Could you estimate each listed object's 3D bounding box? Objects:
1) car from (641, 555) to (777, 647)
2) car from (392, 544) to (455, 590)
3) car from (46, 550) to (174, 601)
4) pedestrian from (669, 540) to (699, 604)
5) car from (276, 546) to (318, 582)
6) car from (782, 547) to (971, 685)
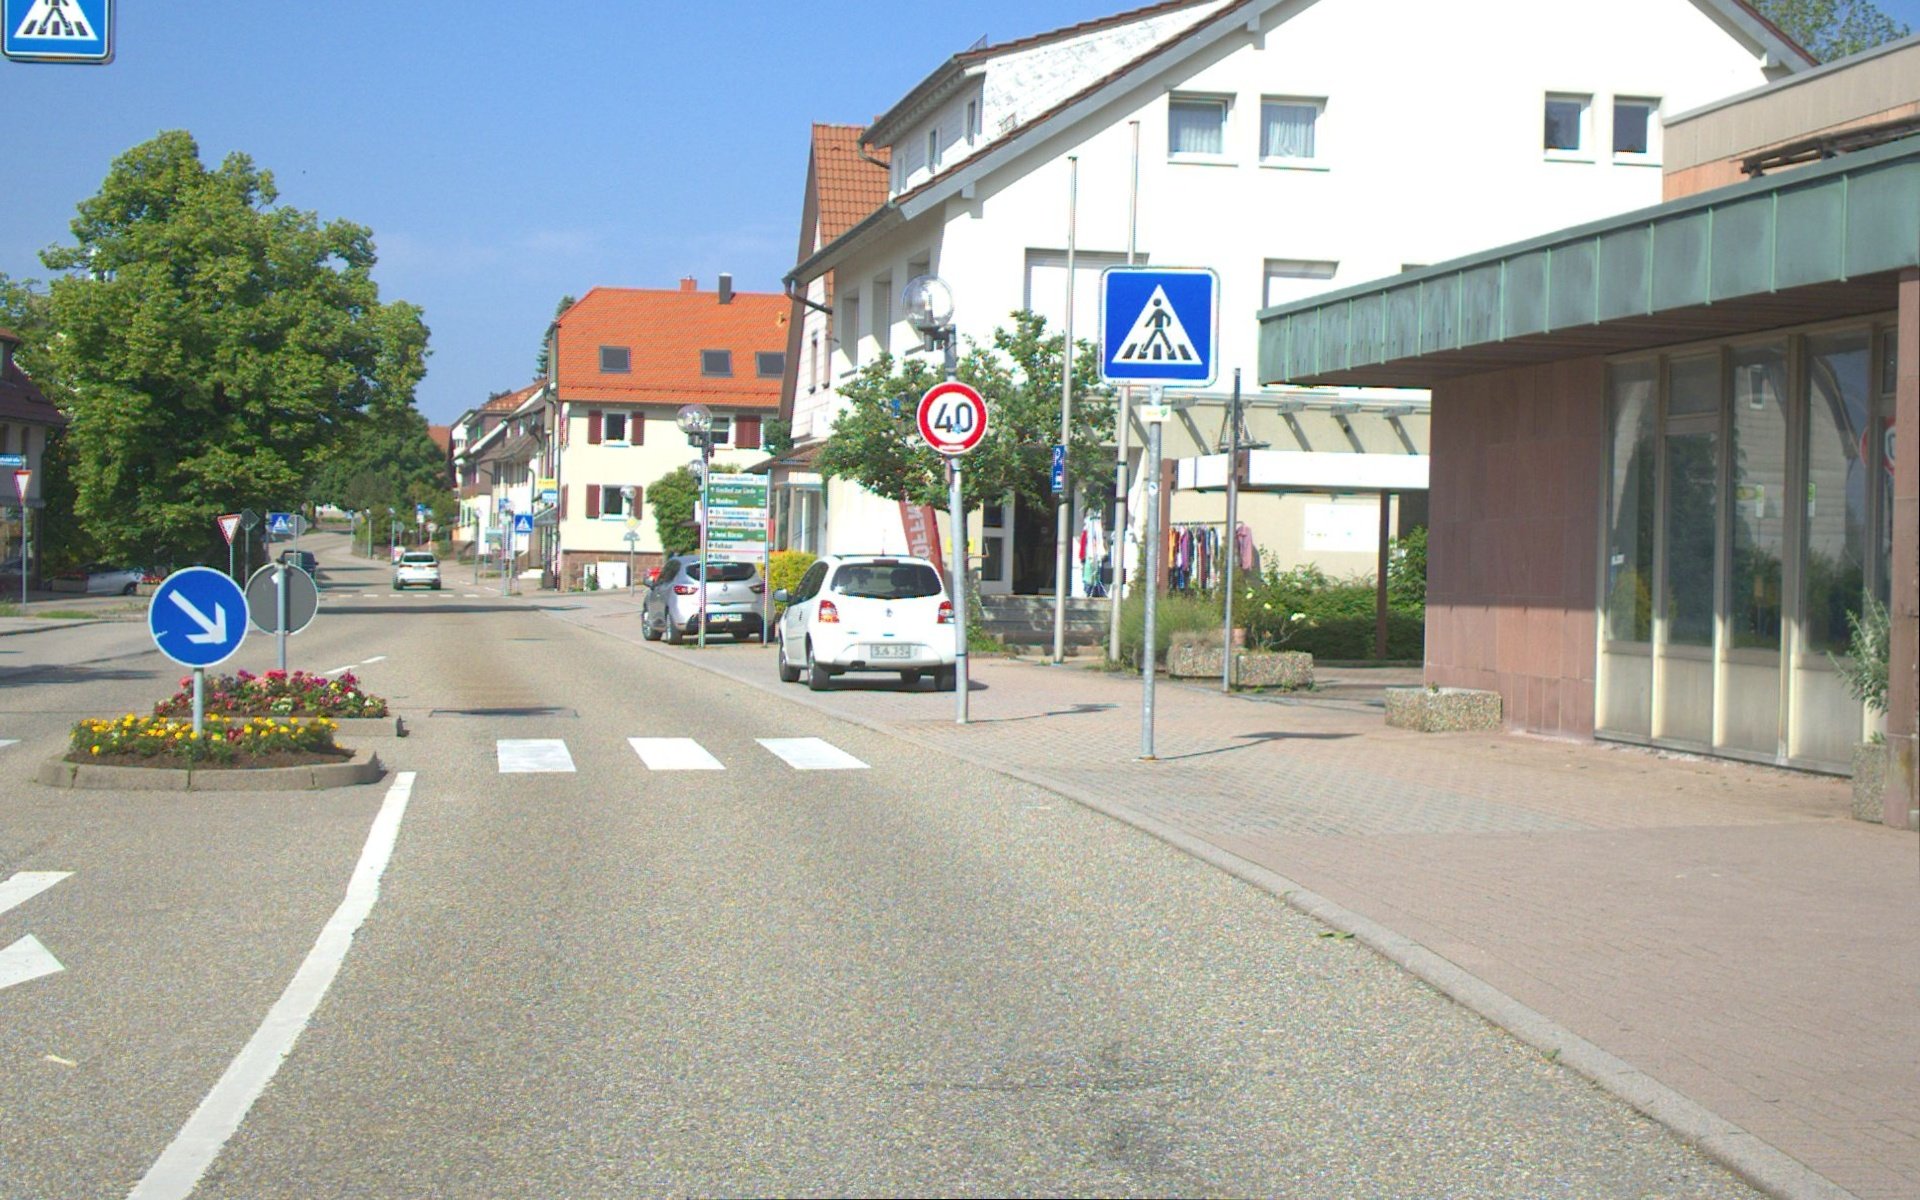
[{"bbox_3d":[-4.155,-0.008,56.373,1.635,1.415,3.936,-1,1,-13],"label":"car"},{"bbox_3d":[-24.529,-1.497,157.009,2.495,2.007,4.306,-2,1,-13],"label":"car"},{"bbox_3d":[-28.117,-0.795,113.790,3.759,1.449,1.817,-2,-4,3],"label":"car"},{"bbox_3d":[-7.665,-0.787,95.471,0.799,1.778,0.980,0,1,-4],"label":"pedestrian"},{"bbox_3d":[-30.827,-1.674,159.898,1.672,1.528,3.536,5,0,-9],"label":"car"},{"bbox_3d":[-0.975,0.138,38.254,1.760,1.418,3.634,-1,1,-7],"label":"car"}]
